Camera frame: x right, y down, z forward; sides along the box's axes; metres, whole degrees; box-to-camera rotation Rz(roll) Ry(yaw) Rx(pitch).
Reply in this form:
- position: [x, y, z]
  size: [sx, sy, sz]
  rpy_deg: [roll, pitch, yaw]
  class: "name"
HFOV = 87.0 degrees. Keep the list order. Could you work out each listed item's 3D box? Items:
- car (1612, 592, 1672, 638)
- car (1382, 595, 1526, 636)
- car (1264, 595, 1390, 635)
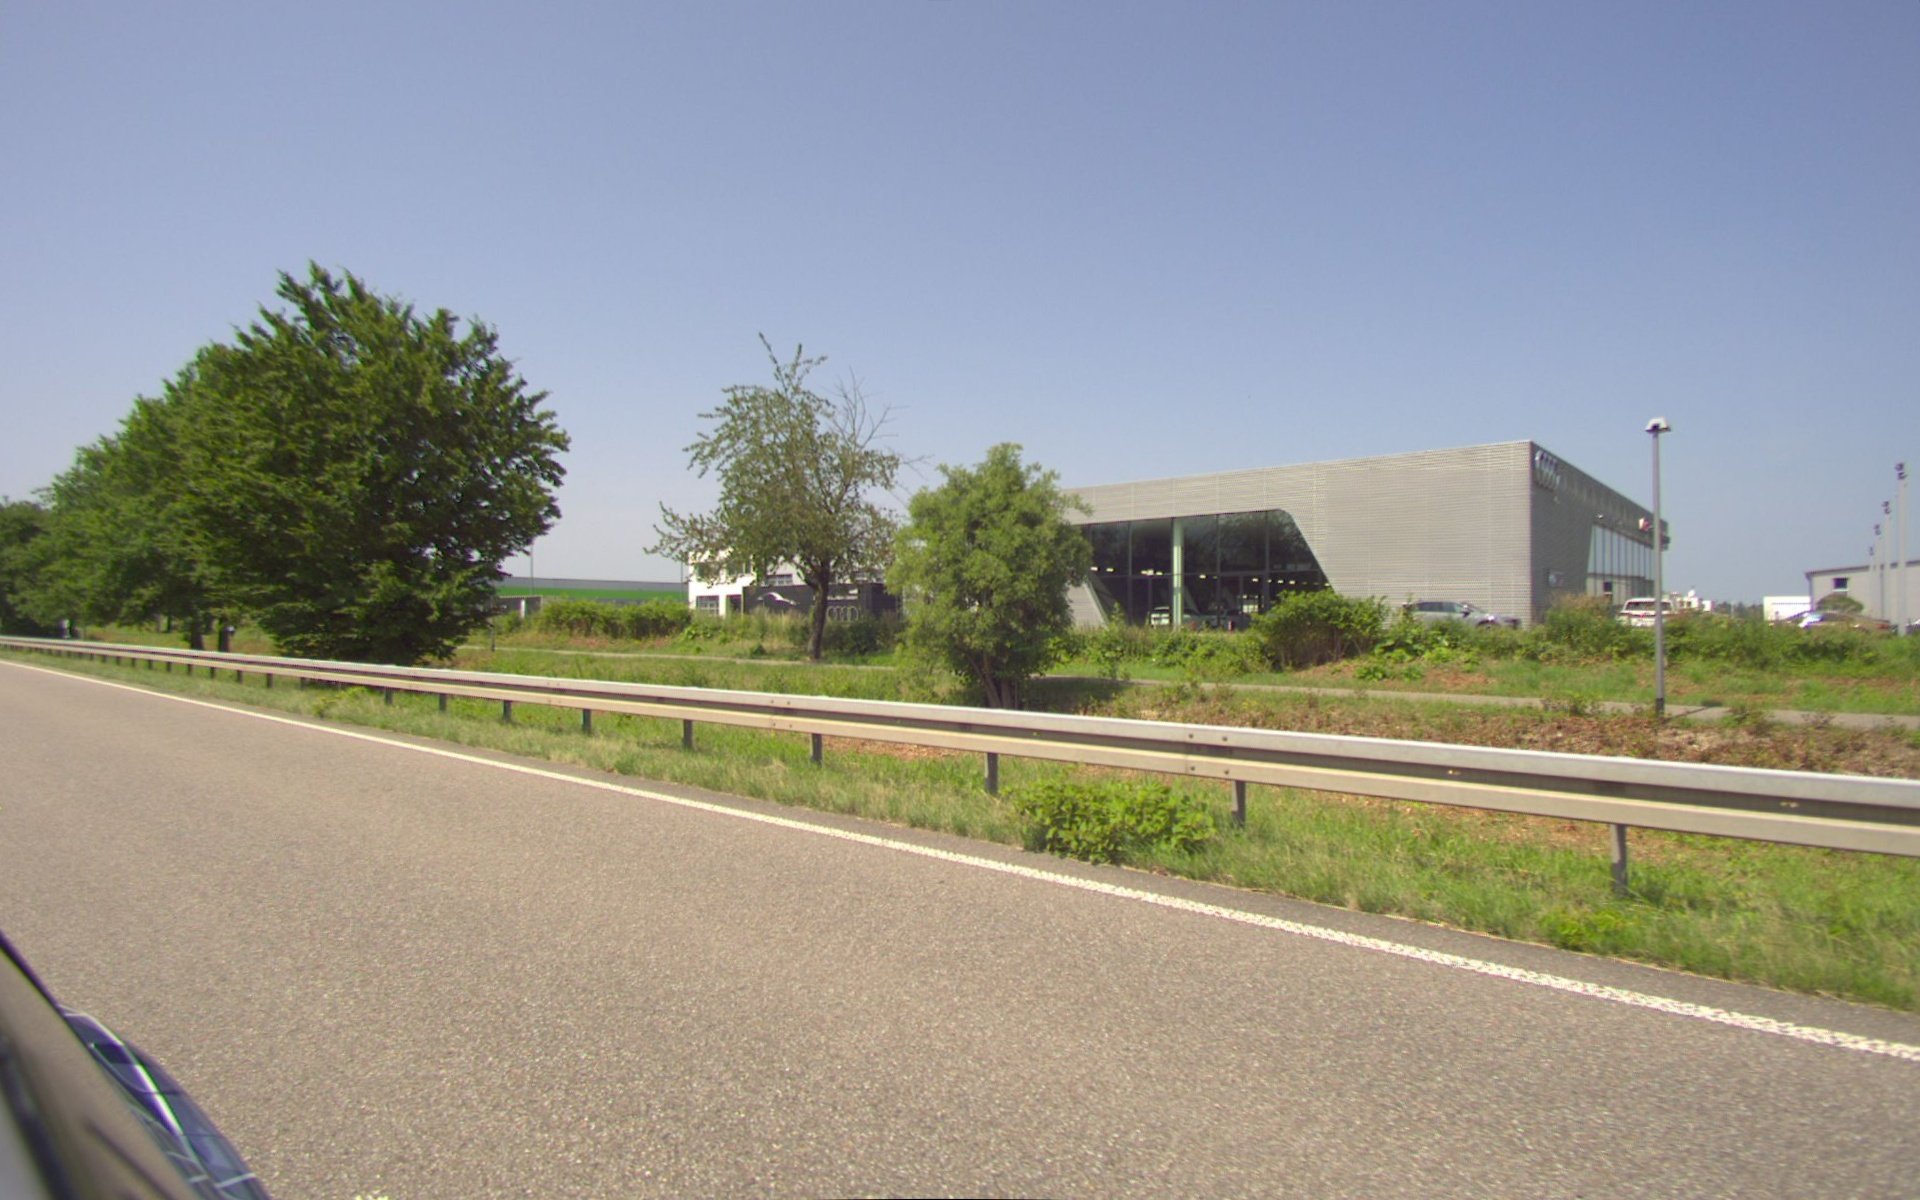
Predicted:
- position: [23.488, 0.567, 34.850]
  size: [1.620, 1.448, 4.189]
  rpy_deg: [-1, -3, 34]
  class: "car"
- position: [18.833, 0.634, 38.690]
  size: [4.663, 1.448, 1.728]
  rpy_deg: [-1, -3, 42]
  class: "car"
- position: [15.292, 0.656, 42.320]
  size: [4.663, 1.549, 1.729]
  rpy_deg: [-1, -3, 41]
  class: "car"
